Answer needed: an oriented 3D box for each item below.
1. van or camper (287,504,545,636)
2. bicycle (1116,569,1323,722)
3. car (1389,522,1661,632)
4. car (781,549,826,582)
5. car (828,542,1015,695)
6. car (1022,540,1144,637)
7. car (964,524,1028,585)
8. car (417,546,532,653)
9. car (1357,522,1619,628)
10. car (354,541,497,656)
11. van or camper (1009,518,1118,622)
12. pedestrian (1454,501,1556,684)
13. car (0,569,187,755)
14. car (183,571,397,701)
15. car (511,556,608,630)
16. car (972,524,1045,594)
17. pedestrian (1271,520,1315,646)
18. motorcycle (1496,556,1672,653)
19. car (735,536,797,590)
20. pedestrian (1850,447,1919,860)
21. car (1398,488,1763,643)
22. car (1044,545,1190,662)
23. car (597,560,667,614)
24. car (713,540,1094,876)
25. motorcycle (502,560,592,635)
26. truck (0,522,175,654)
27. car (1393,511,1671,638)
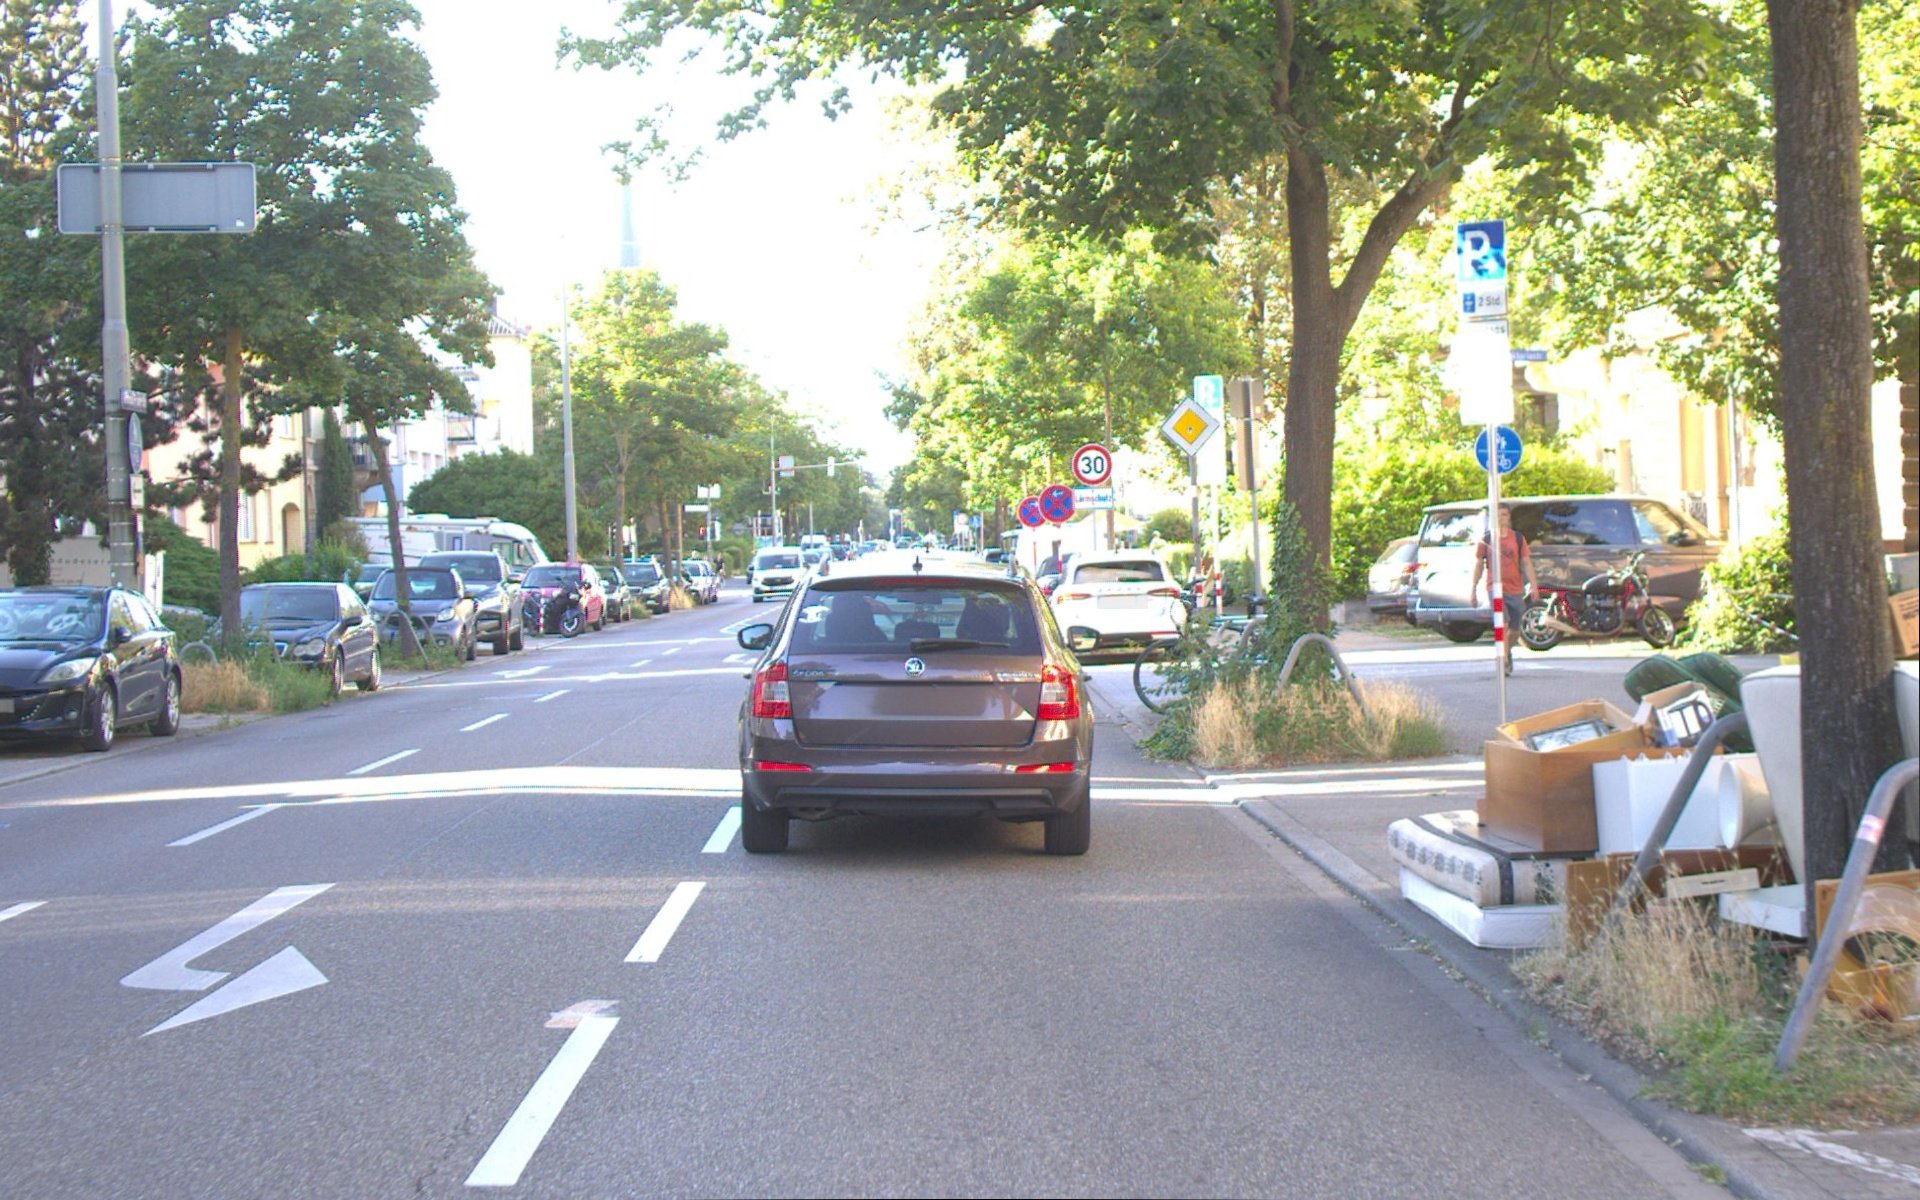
[{"bbox_3d":[-16.875,-0.957,106.906,7.639,3.861,2.000,-2,1,-2],"label":"van or camper"},{"bbox_3d":[2.278,0.396,30.140,1.671,1.222,0.635,-4,1,12],"label":"bicycle"},{"bbox_3d":[8.527,-0.358,51.876,3.799,1.520,1.512,-2,1,-22],"label":"car"},{"bbox_3d":[-7.518,-1.679,165.102,1.993,1.503,4.000,-2,1,-1],"label":"car"},{"bbox_3d":[-0.470,0.156,37.173,1.729,1.488,3.951,-2,1,-4],"label":"car"},{"bbox_3d":[1.915,-0.212,54.379,1.821,1.408,4.111,-1,1,1],"label":"car"},{"bbox_3d":[1.083,-1.420,105.572,1.729,1.809,3.951,-2,1,-2],"label":"car"},{"bbox_3d":[-8.499,-0.032,60.430,1.507,1.751,3.694,-2,1,-1],"label":"car"},{"bbox_3d":[8.292,-0.403,53.997,3.799,1.520,1.512,-2,1,-22],"label":"car"},{"bbox_3d":[-8.628,-0.052,55.740,1.750,1.734,3.591,-2,1,-1],"label":"car"},{"bbox_3d":[2.065,-0.636,69.792,1.993,2.007,4.000,-2,1,-1],"label":"van or camper"},{"bbox_3d":[5.437,-0.085,34.330,0.755,1.790,0.906,-2,1,-5],"label":"pedestrian"},{"bbox_3d":[-8.369,0.522,31.262,1.717,1.492,4.248,-2,1,-1],"label":"car"},{"bbox_3d":[-8.229,0.402,42.583,1.754,1.415,4.426,-2,1,0],"label":"car"},{"bbox_3d":[-8.796,-0.171,75.725,1.664,1.506,4.179,-2,1,-1],"label":"car"},{"bbox_3d":[1.297,-1.125,93.082,1.729,1.809,3.951,-2,1,-2],"label":"car"},{"bbox_3d":[4.798,-0.252,49.596,0.535,1.788,0.687,-1,1,1],"label":"pedestrian"},{"bbox_3d":[7.673,0.050,42.296,2.051,1.121,0.525,-2,1,-5],"label":"motorcycle"},{"bbox_3d":[-6.548,-1.267,116.400,1.876,1.751,4.179,-2,1,-1],"label":"car"},{"bbox_3d":[3.857,0.172,12.545,1.061,1.471,0.479,-2,1,-20],"label":"pedestrian"},{"bbox_3d":[8.288,-0.477,45.848,4.533,1.886,1.915,-2,1,-28],"label":"car"},{"bbox_3d":[2.050,0.013,45.896,1.821,1.408,4.111,-1,1,1],"label":"car"},{"bbox_3d":[-9.252,-0.372,97.187,1.664,1.427,3.275,-2,1,-1],"label":"car"},{"bbox_3d":[-0.256,0.469,17.942,1.729,1.488,3.951,-2,1,0],"label":"car"},{"bbox_3d":[-8.503,-0.059,70.737,0.764,1.506,2.029,-3,2,-43],"label":"motorcycle"},{"bbox_3d":[-14.715,-0.207,57.172,2.913,2.086,1.546,-2,1,-1],"label":"truck"},{"bbox_3d":[8.208,-0.388,49.257,3.800,1.673,1.512,-2,1,-30],"label":"car"}]
